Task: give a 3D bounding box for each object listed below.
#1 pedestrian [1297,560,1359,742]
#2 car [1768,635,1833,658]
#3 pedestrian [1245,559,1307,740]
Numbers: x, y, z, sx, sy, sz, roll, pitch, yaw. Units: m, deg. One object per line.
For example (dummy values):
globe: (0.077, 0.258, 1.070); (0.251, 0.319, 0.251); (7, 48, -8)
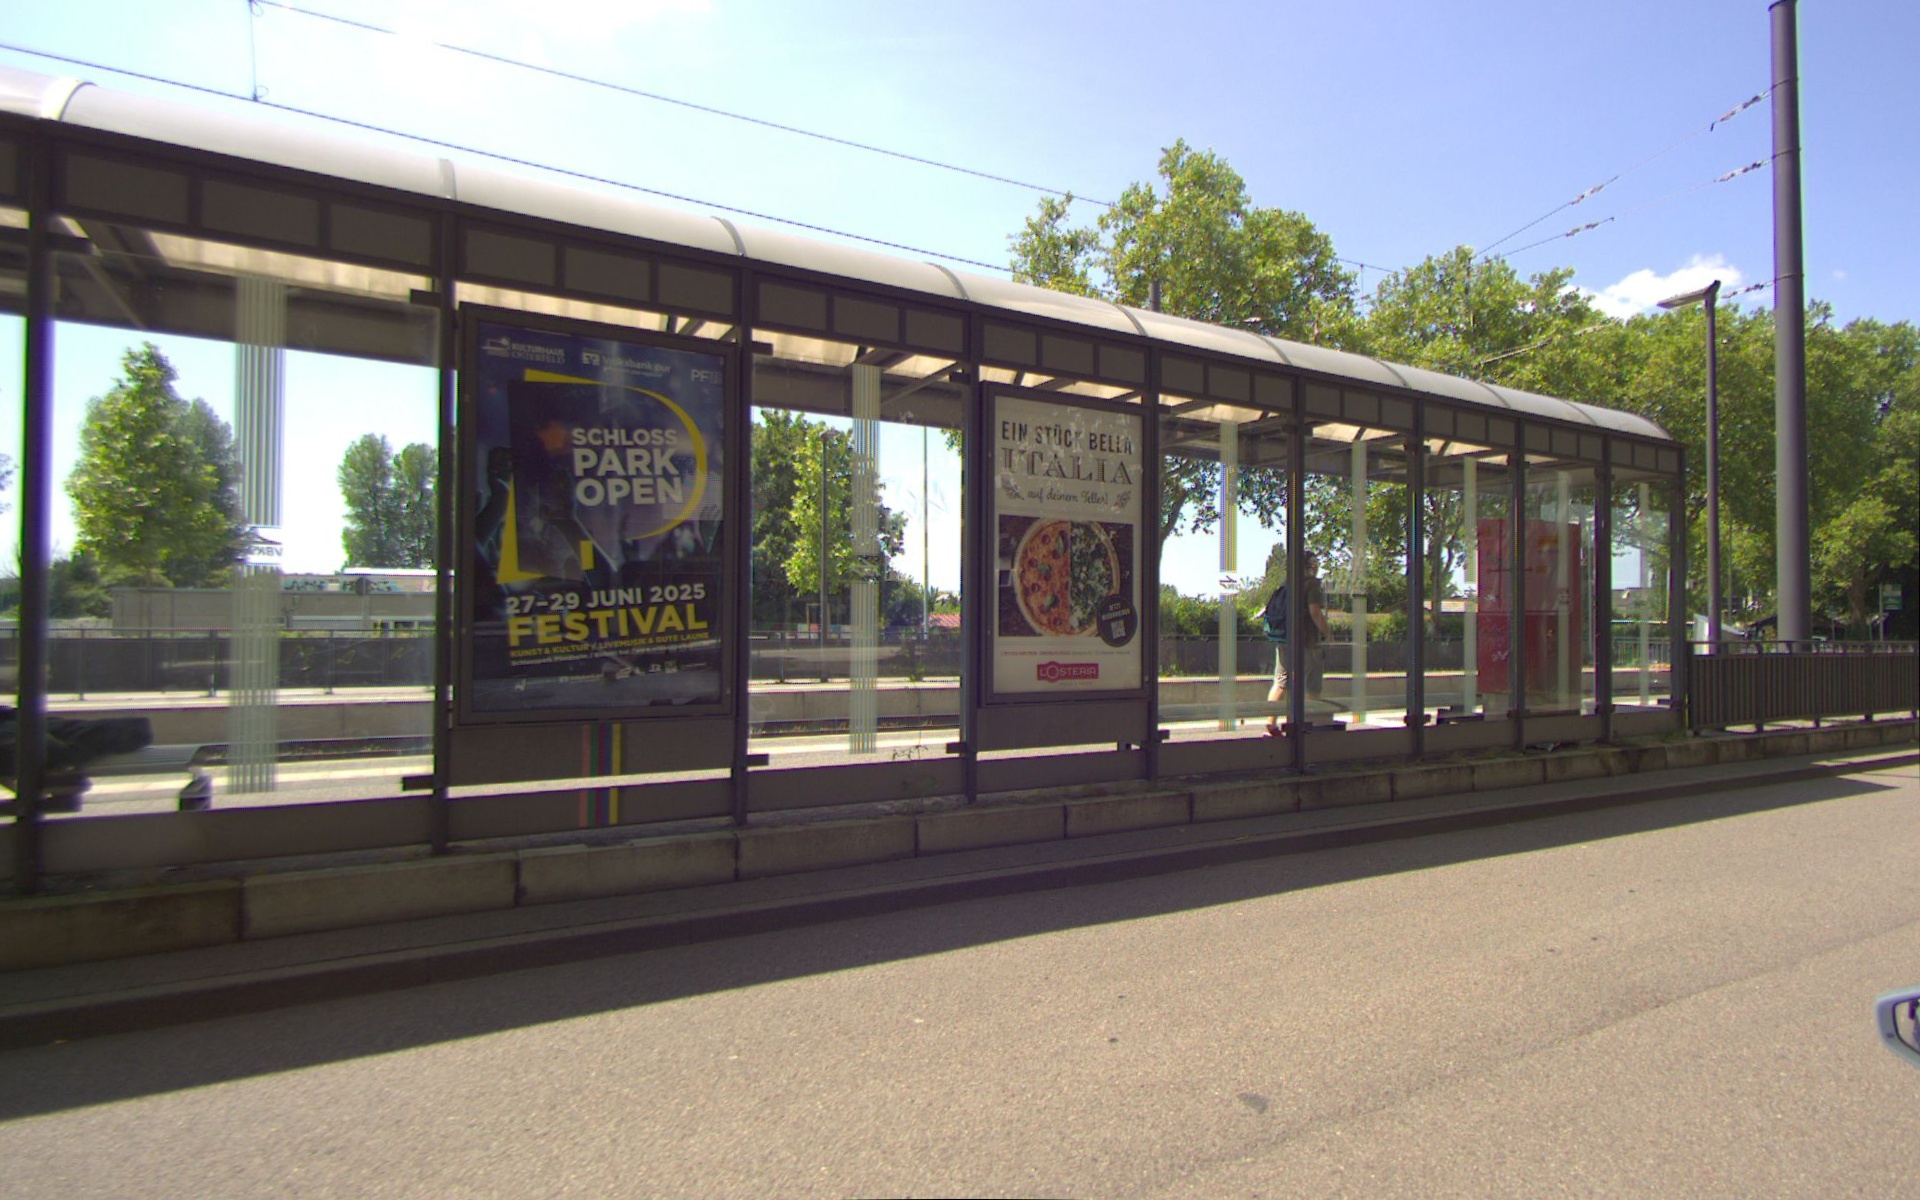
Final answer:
pedestrian: (3.200, 0.433, 8.727); (0.412, 1.528, 0.394); (0, -1, 37)
car: (58.723, 3.239, 70.173); (1.641, 1.495, 3.288); (2, -2, -40)
pedestrian: (2.756, 0.420, 8.756); (0.412, 1.528, 0.394); (0, -1, 37)
